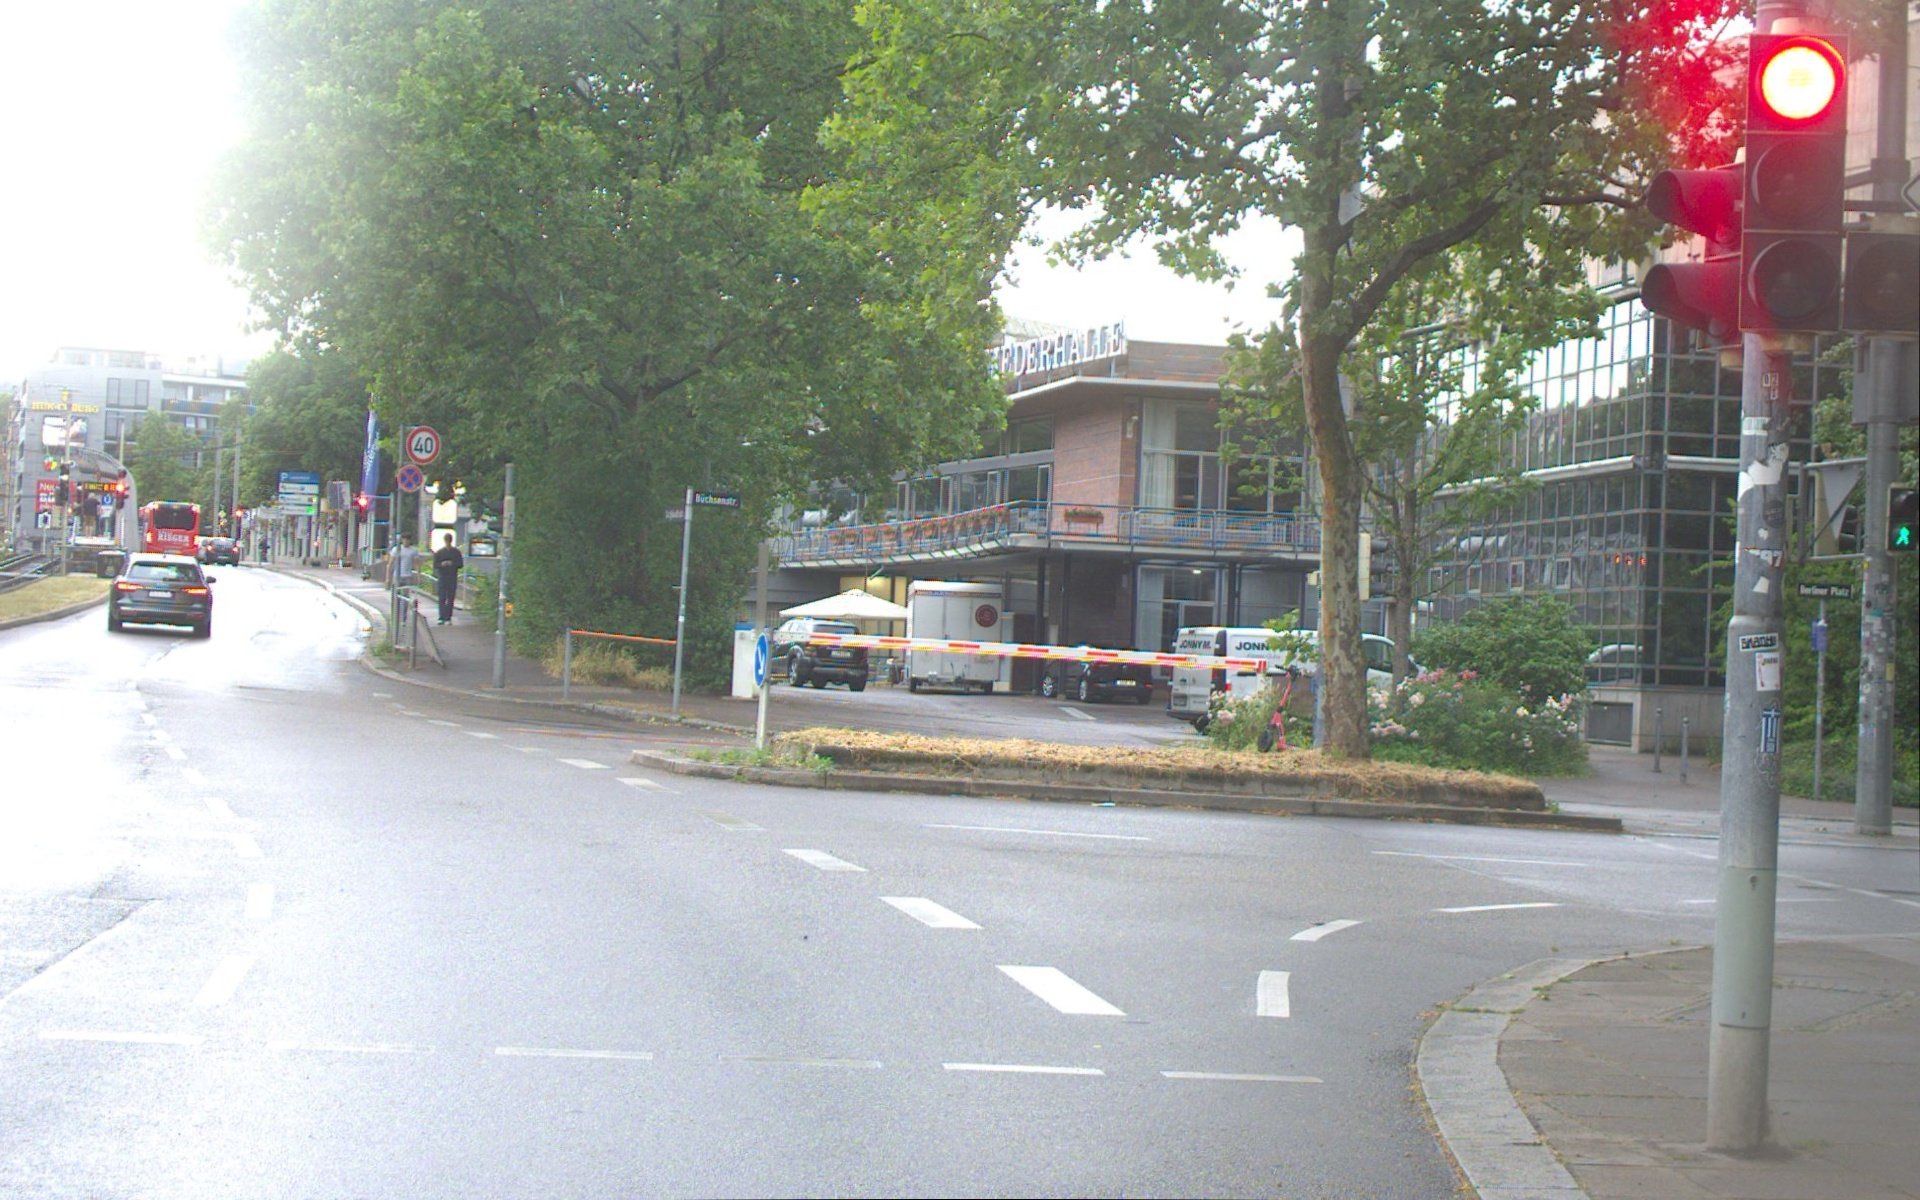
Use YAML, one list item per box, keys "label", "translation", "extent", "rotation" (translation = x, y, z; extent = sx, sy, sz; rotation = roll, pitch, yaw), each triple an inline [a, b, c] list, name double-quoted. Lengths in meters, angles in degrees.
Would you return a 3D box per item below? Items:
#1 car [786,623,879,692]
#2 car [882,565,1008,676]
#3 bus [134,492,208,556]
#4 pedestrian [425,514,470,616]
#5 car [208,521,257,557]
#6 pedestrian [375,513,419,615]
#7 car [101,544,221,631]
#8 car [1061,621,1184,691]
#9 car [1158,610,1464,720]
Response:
- label: "car"
  translation: [-3.236, 1.457, 87.948]
  extent: [2.019, 1.546, 4.350]
  rotation: [3, 1, 2]
- label: "car"
  translation: [-0.462, 0.494, 91.439]
  extent: [2.731, 2.686, 6.923]
  rotation: [3, 1, -5]
- label: "bus"
  translation: [-40.492, -3.857, 176.415]
  extent: [3.589, 3.160, 10.423]
  rotation: [1, 1, -13]
- label: "pedestrian"
  translation: [-10.276, -0.706, 68.961]
  extent: [0.874, 2.007, 1.077]
  rotation: [1, 0, -8]
- label: "car"
  translation: [-38.401, -3.203, 181.397]
  extent: [2.362, 1.810, 5.185]
  rotation: [1, 1, -13]
- label: "pedestrian"
  translation: [-11.248, -0.716, 68.721]
  extent: [0.814, 2.007, 1.077]
  rotation: [1, 0, -8]
- label: "car"
  translation: [-14.498, -0.242, 62.556]
  extent: [1.993, 1.514, 4.351]
  rotation: [1, 1, -11]
- label: "car"
  translation: [4.188, 1.438, 89.132]
  extent: [2.019, 1.546, 4.351]
  rotation: [3, 1, -13]
- label: "car"
  translation: [6.366, 1.178, 62.205]
  extent: [5.198, 1.725, 1.875]
  rotation: [3, 1, -25]
